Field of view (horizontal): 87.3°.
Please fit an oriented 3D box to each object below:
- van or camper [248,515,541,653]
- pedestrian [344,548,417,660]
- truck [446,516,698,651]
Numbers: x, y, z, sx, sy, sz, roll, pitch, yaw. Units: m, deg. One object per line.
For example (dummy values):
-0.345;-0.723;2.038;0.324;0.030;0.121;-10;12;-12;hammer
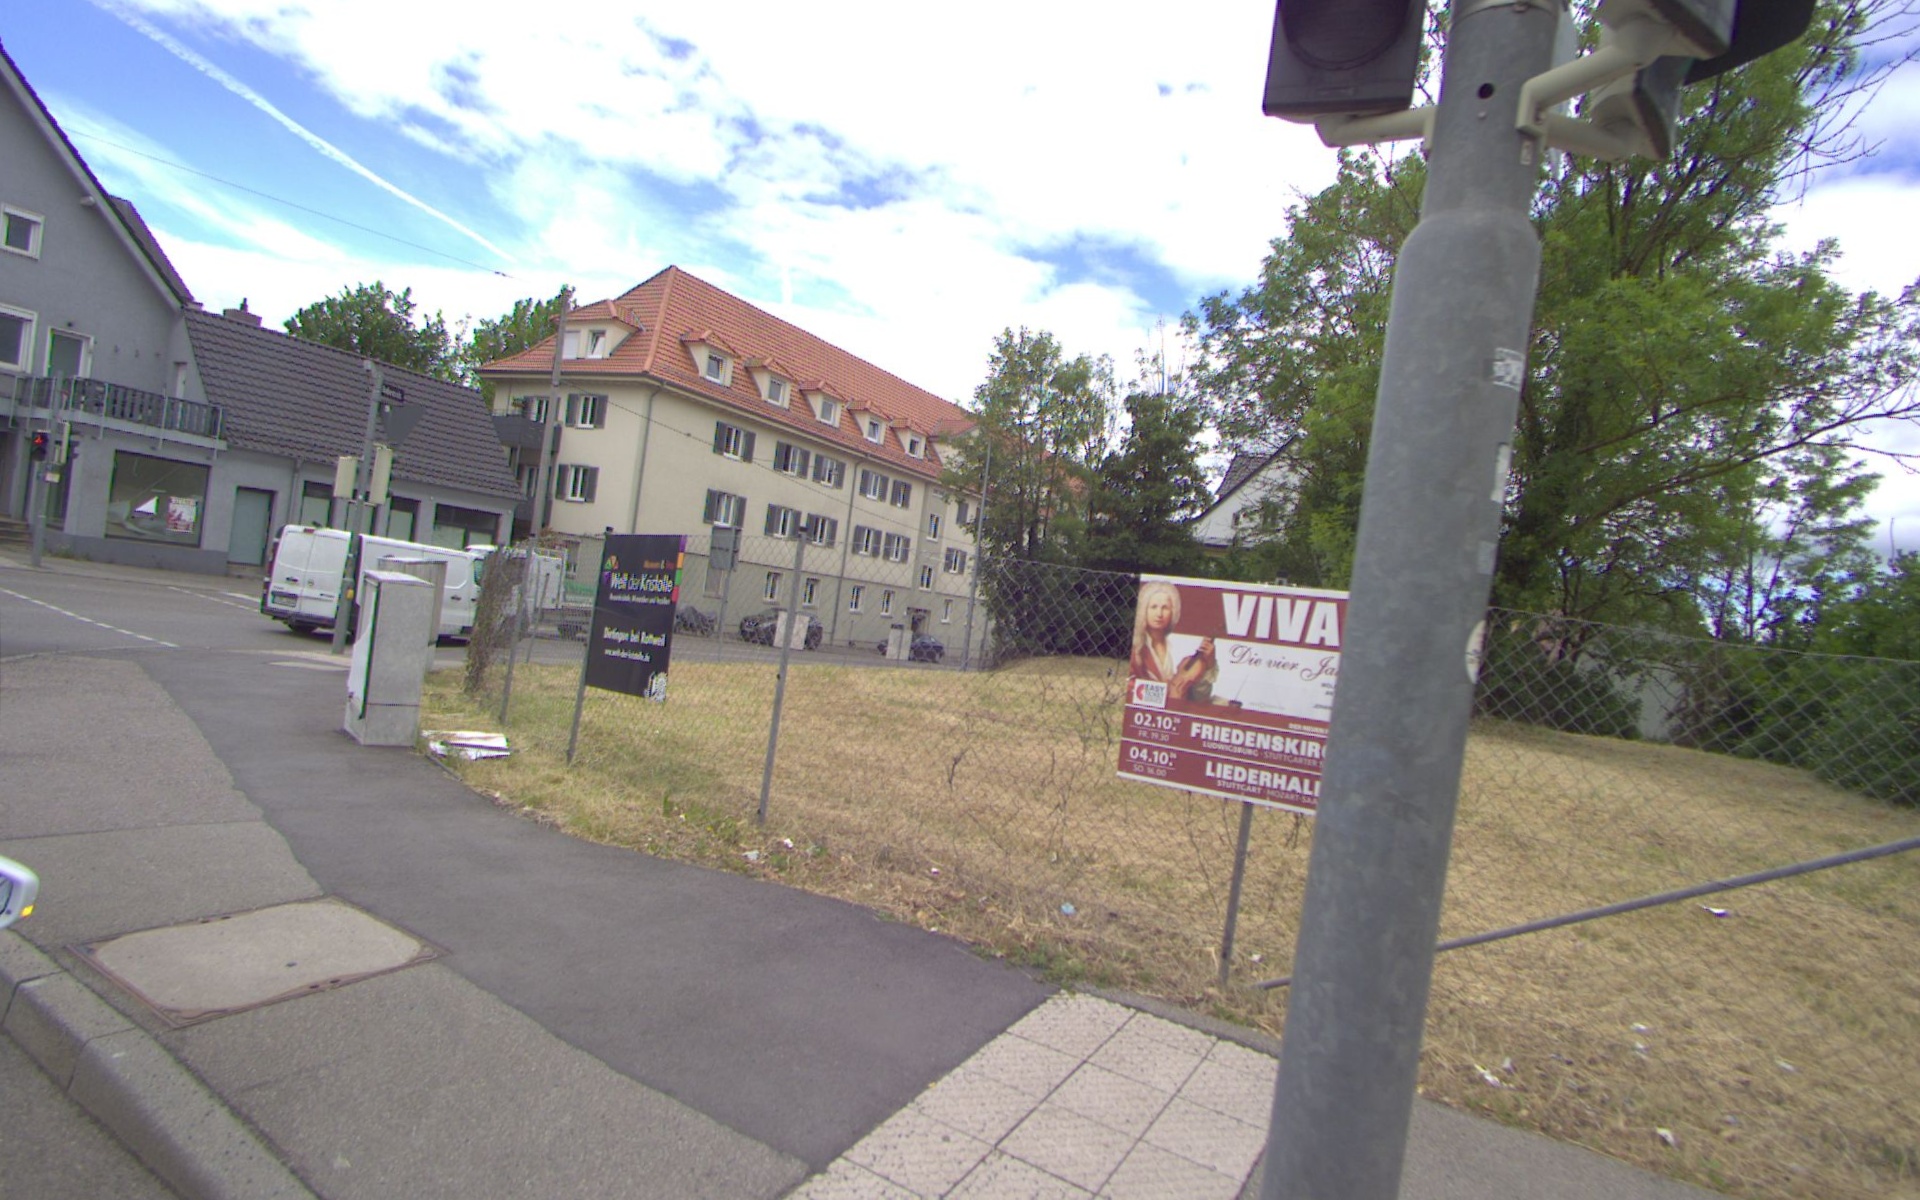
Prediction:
-10.811;-0.155;19.826;1.962;2.036;5.102;9;-2;11;van or camper
-8.807;0.070;15.293;0.599;1.616;0.606;4;-2;29;pedestrian
-10.437;-0.313;27.823;1.967;2.730;6.404;6;-3;31;truck
